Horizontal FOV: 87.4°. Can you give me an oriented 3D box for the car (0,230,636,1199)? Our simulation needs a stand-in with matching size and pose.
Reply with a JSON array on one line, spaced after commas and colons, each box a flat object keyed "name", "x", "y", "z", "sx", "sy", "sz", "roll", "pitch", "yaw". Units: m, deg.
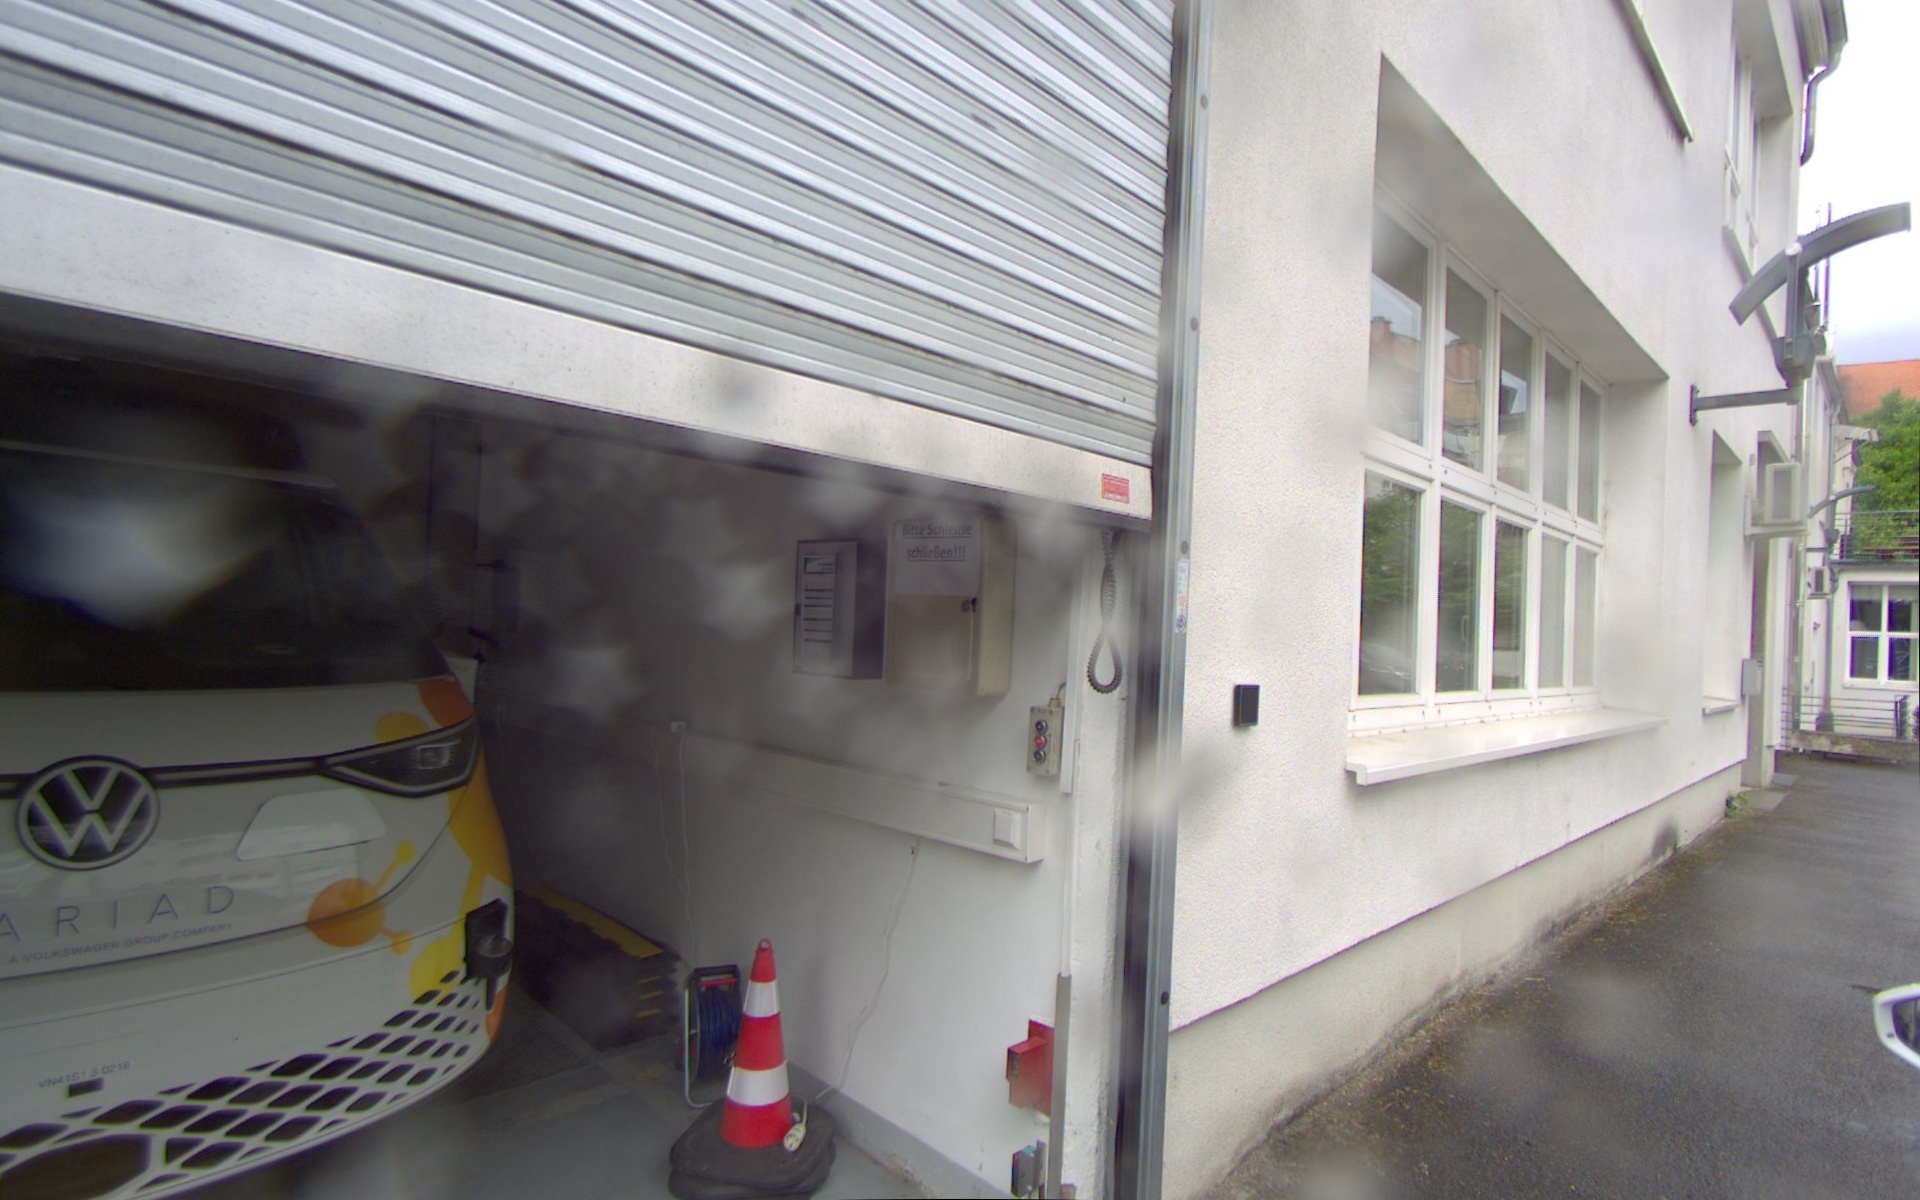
[{"name": "car", "x": -3.256, "y": 0.307, "z": 3.438, "sx": 4.640, "sy": 2.040, "sz": 2.073, "roll": 3, "pitch": -1, "yaw": 44}]
